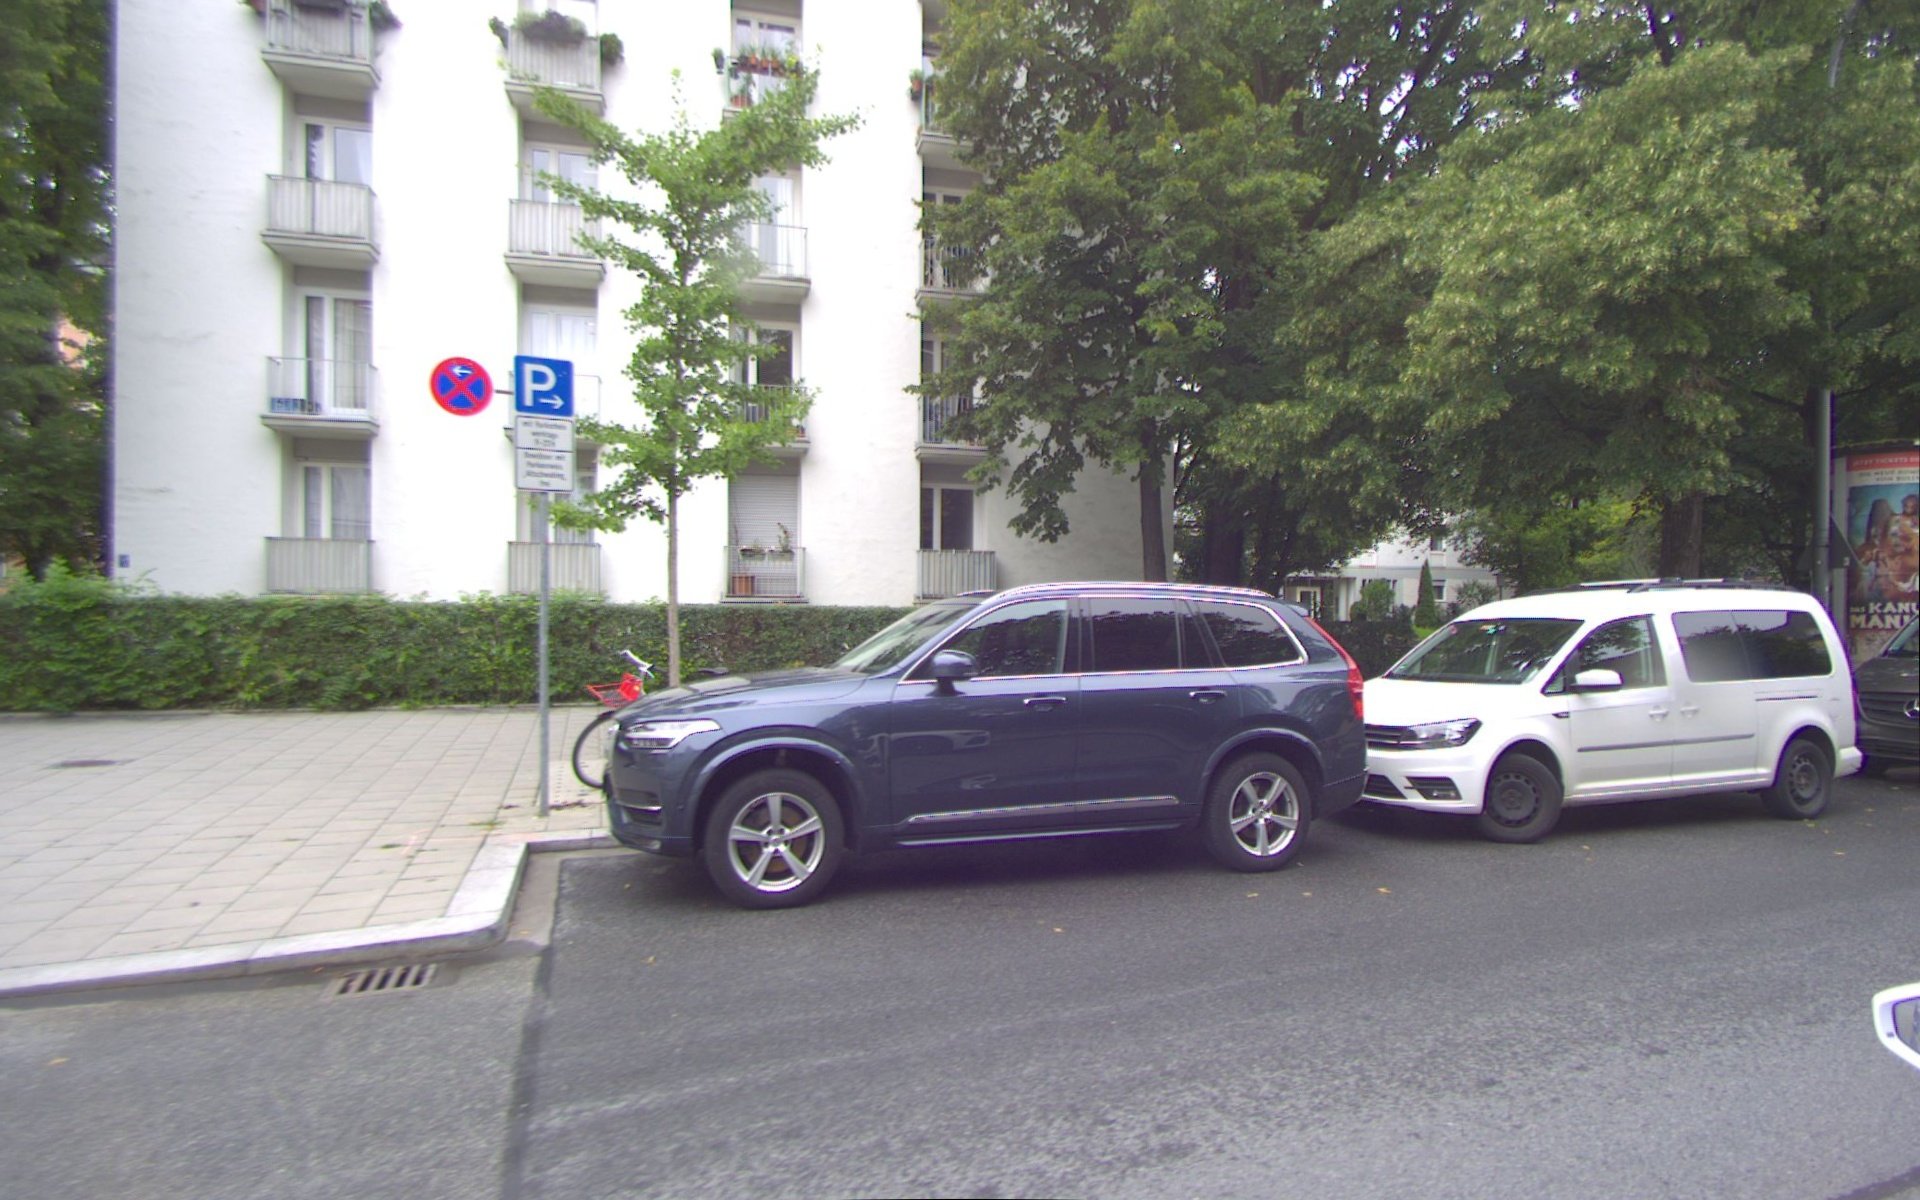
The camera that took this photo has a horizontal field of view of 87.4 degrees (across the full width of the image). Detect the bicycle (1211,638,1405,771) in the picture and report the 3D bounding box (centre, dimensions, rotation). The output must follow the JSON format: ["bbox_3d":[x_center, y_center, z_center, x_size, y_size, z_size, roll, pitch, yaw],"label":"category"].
[{"bbox_3d":[3.418,0.986,10.015,0.533,1.164,1.808,1,-1,-41],"label":"bicycle"}]

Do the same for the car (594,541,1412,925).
[{"bbox_3d":[0.256,0.697,6.498,4.836,1.815,1.992,1,-2,-19],"label":"car"}]

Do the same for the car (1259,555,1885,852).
[{"bbox_3d":[5.014,0.741,8.267,4.775,1.943,1.828,1,-2,-20],"label":"car"}]

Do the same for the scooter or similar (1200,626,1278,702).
[{"bbox_3d":[4.574,1.048,16.464,1.195,1.209,0.398,1,-1,-16],"label":"scooter or similar"}]

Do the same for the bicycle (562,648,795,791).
[{"bbox_3d":[-2.309,0.943,8.317,1.805,1.063,0.489,1,-1,-25],"label":"bicycle"}]

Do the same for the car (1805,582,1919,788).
[{"bbox_3d":[11.501,0.853,10.583,5.134,1.959,1.883,1,-2,-23],"label":"car"}]
